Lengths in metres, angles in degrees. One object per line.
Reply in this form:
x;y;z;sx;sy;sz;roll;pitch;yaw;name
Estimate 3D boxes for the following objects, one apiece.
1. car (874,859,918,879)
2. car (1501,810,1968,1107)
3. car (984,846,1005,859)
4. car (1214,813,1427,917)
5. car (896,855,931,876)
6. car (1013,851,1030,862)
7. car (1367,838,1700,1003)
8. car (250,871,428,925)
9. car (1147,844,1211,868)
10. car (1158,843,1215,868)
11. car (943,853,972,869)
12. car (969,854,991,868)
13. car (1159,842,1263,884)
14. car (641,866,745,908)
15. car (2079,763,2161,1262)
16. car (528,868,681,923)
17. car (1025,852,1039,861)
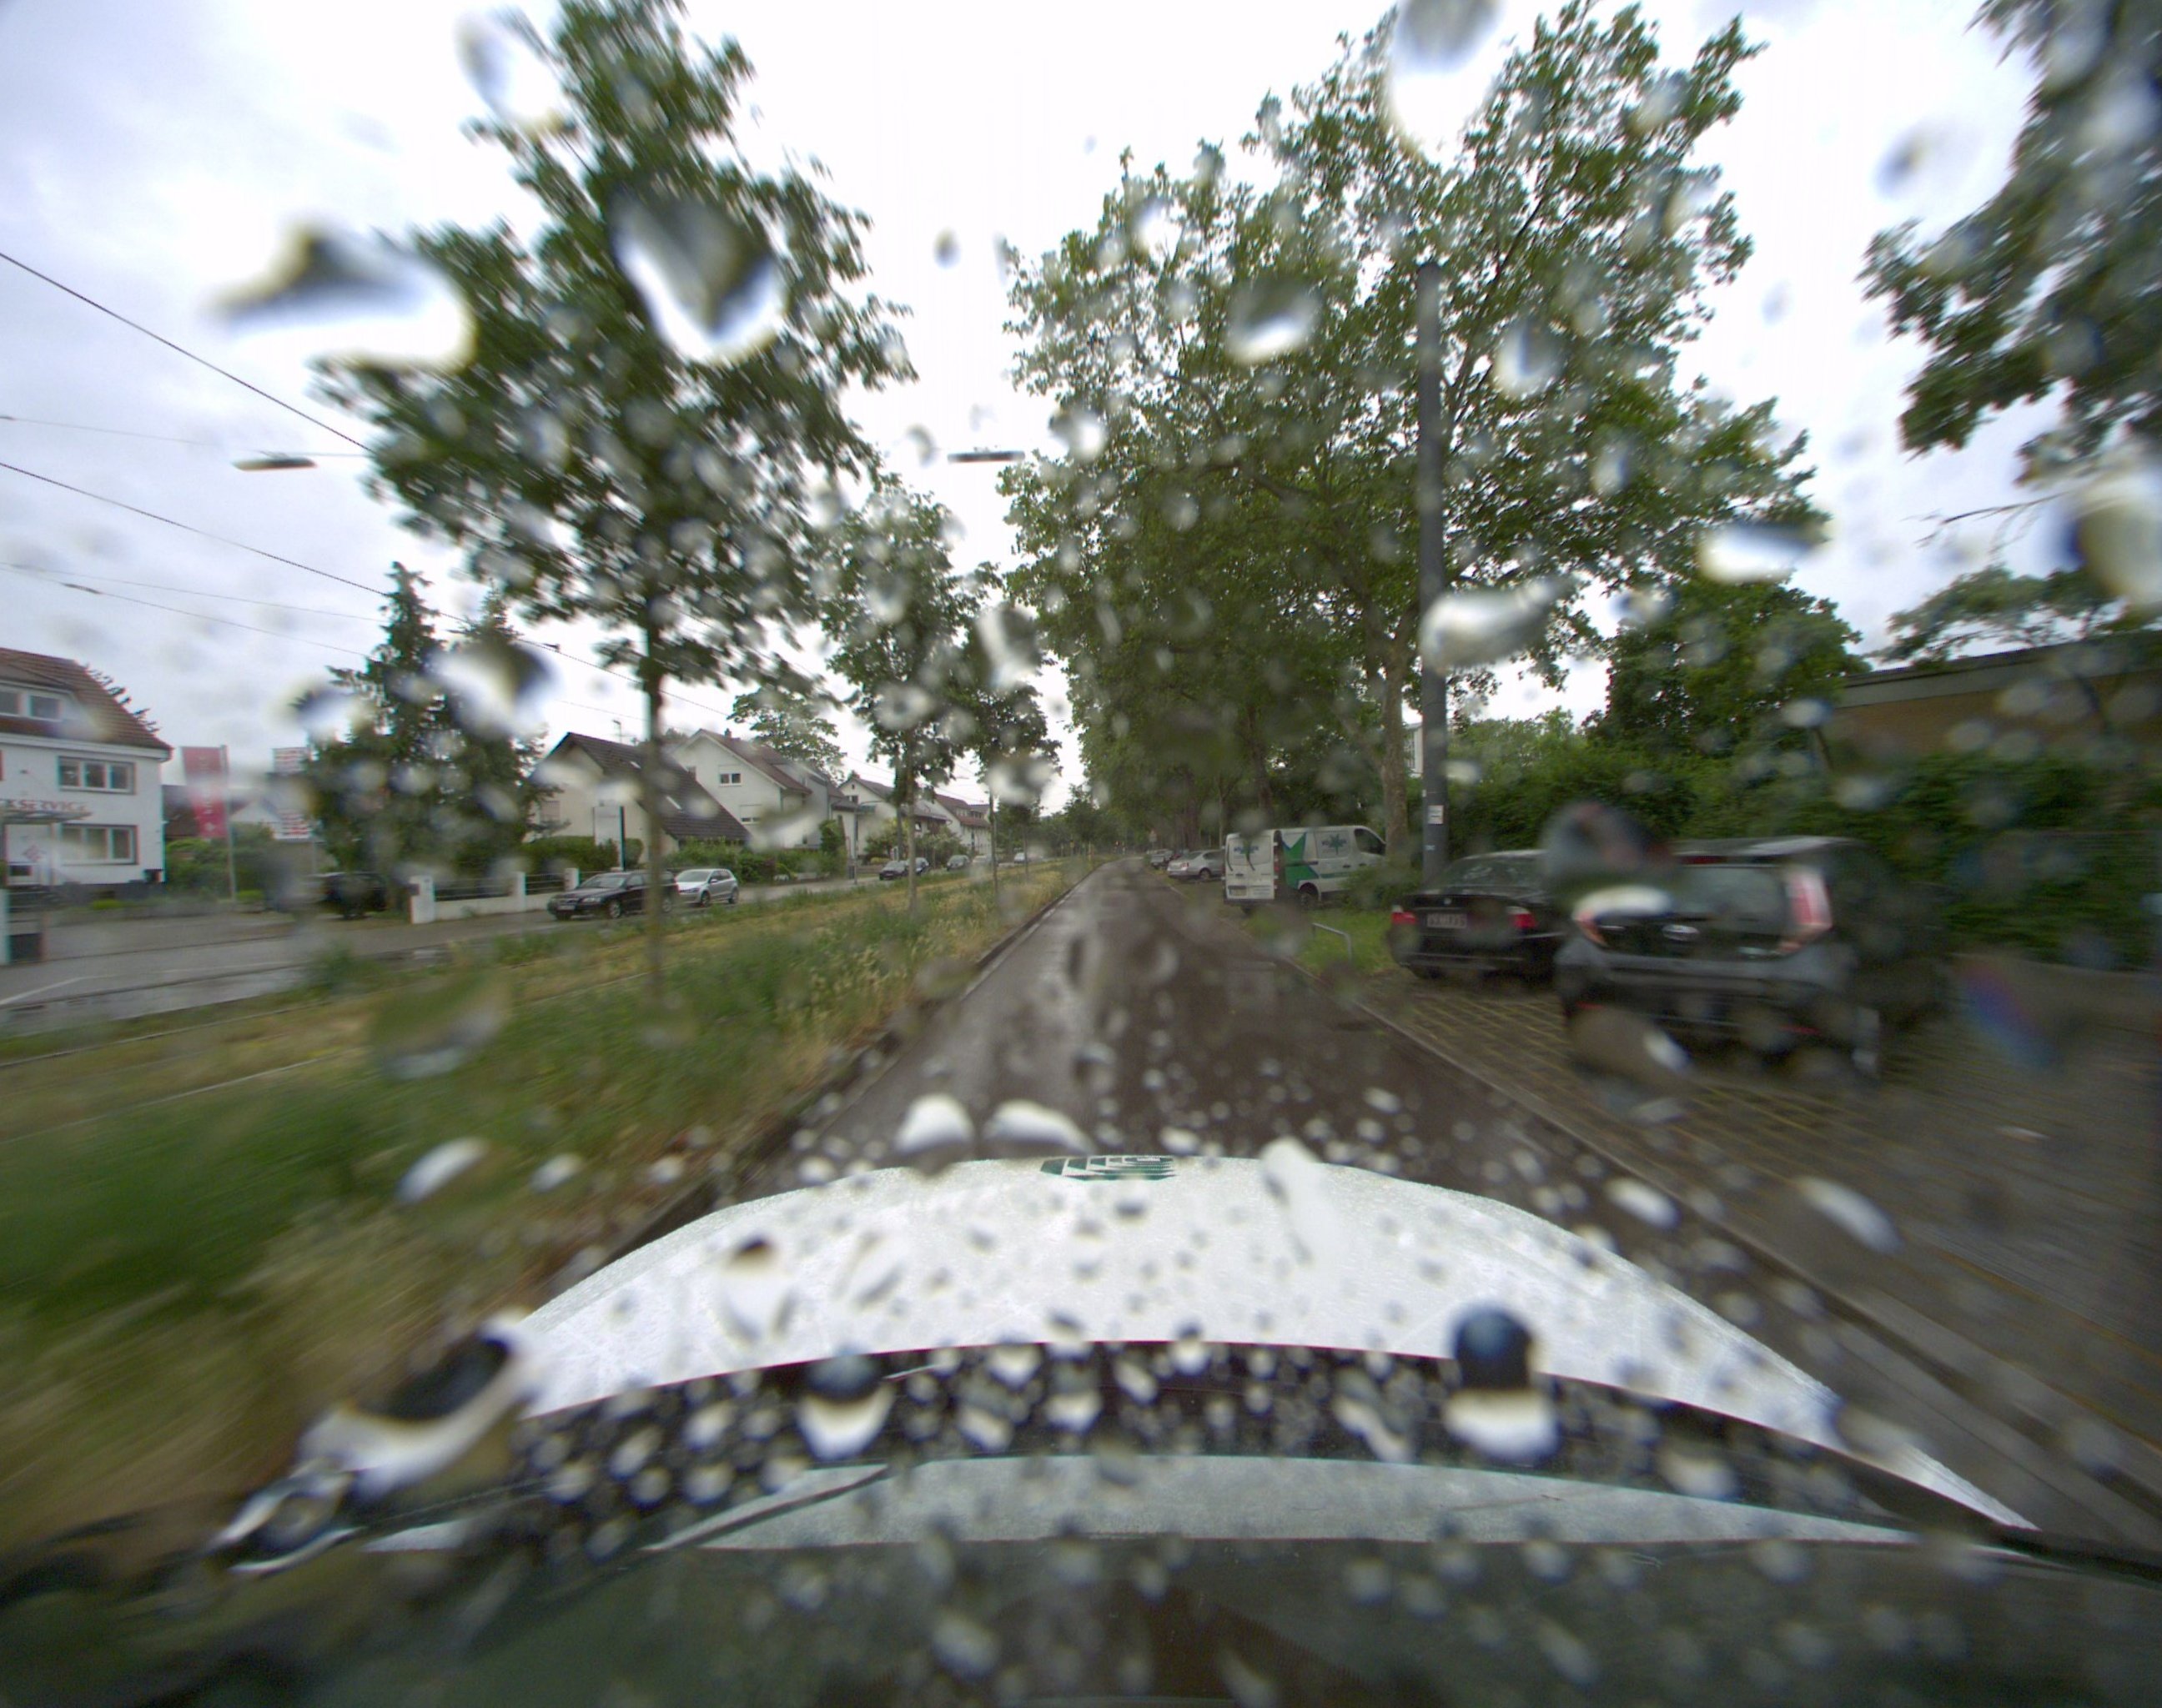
-13.641;1.080;60.324;1.985;1.350;4.245;0;1;4;car
4.999;0.544;6.141;3.420;1.518;1.830;-4;0;-36;car
-10.973;-0.213;103.522;1.985;1.614;4.418;0;1;4;car
5.763;0.174;19.345;5.049;2.013;1.979;-4;2;-33;car
-13.408;0.881;65.361;1.866;1.550;3.872;0;1;2;car
-9.061;0.318;124.805;1.985;1.580;4.522;0;1;4;car
5.266;0.575;9.237;4.326;1.384;1.721;-2;0;-38;car
-23.442;1.347;25.963;1.986;1.455;3.920;0;1;2;car
7.658;0.147;63.352;4.795;1.668;1.974;-3;1;-34;car
7.498;0.089;57.668;3.726;1.566;1.603;-3;0;-30;car
-12.492;0.719;82.431;1.985;1.516;4.210;0;1;4;car
-11.644;0.802;94.230;1.788;1.488;3.601;0;1;4;car
6.119;0.402;38.173;4.575;1.544;1.869;-5;2;-30;car
-14.962;1.237;31.657;1.986;1.411;3.973;0;1;2;car
5.319;0.417;3.033;3.287;1.671;1.576;-4;0;-32;car
-15.044;1.262;26.067;1.985;1.455;4.536;0;1;4;car
-8.322;0.391;138.749;1.985;1.488;4.210;0;1;4;car
